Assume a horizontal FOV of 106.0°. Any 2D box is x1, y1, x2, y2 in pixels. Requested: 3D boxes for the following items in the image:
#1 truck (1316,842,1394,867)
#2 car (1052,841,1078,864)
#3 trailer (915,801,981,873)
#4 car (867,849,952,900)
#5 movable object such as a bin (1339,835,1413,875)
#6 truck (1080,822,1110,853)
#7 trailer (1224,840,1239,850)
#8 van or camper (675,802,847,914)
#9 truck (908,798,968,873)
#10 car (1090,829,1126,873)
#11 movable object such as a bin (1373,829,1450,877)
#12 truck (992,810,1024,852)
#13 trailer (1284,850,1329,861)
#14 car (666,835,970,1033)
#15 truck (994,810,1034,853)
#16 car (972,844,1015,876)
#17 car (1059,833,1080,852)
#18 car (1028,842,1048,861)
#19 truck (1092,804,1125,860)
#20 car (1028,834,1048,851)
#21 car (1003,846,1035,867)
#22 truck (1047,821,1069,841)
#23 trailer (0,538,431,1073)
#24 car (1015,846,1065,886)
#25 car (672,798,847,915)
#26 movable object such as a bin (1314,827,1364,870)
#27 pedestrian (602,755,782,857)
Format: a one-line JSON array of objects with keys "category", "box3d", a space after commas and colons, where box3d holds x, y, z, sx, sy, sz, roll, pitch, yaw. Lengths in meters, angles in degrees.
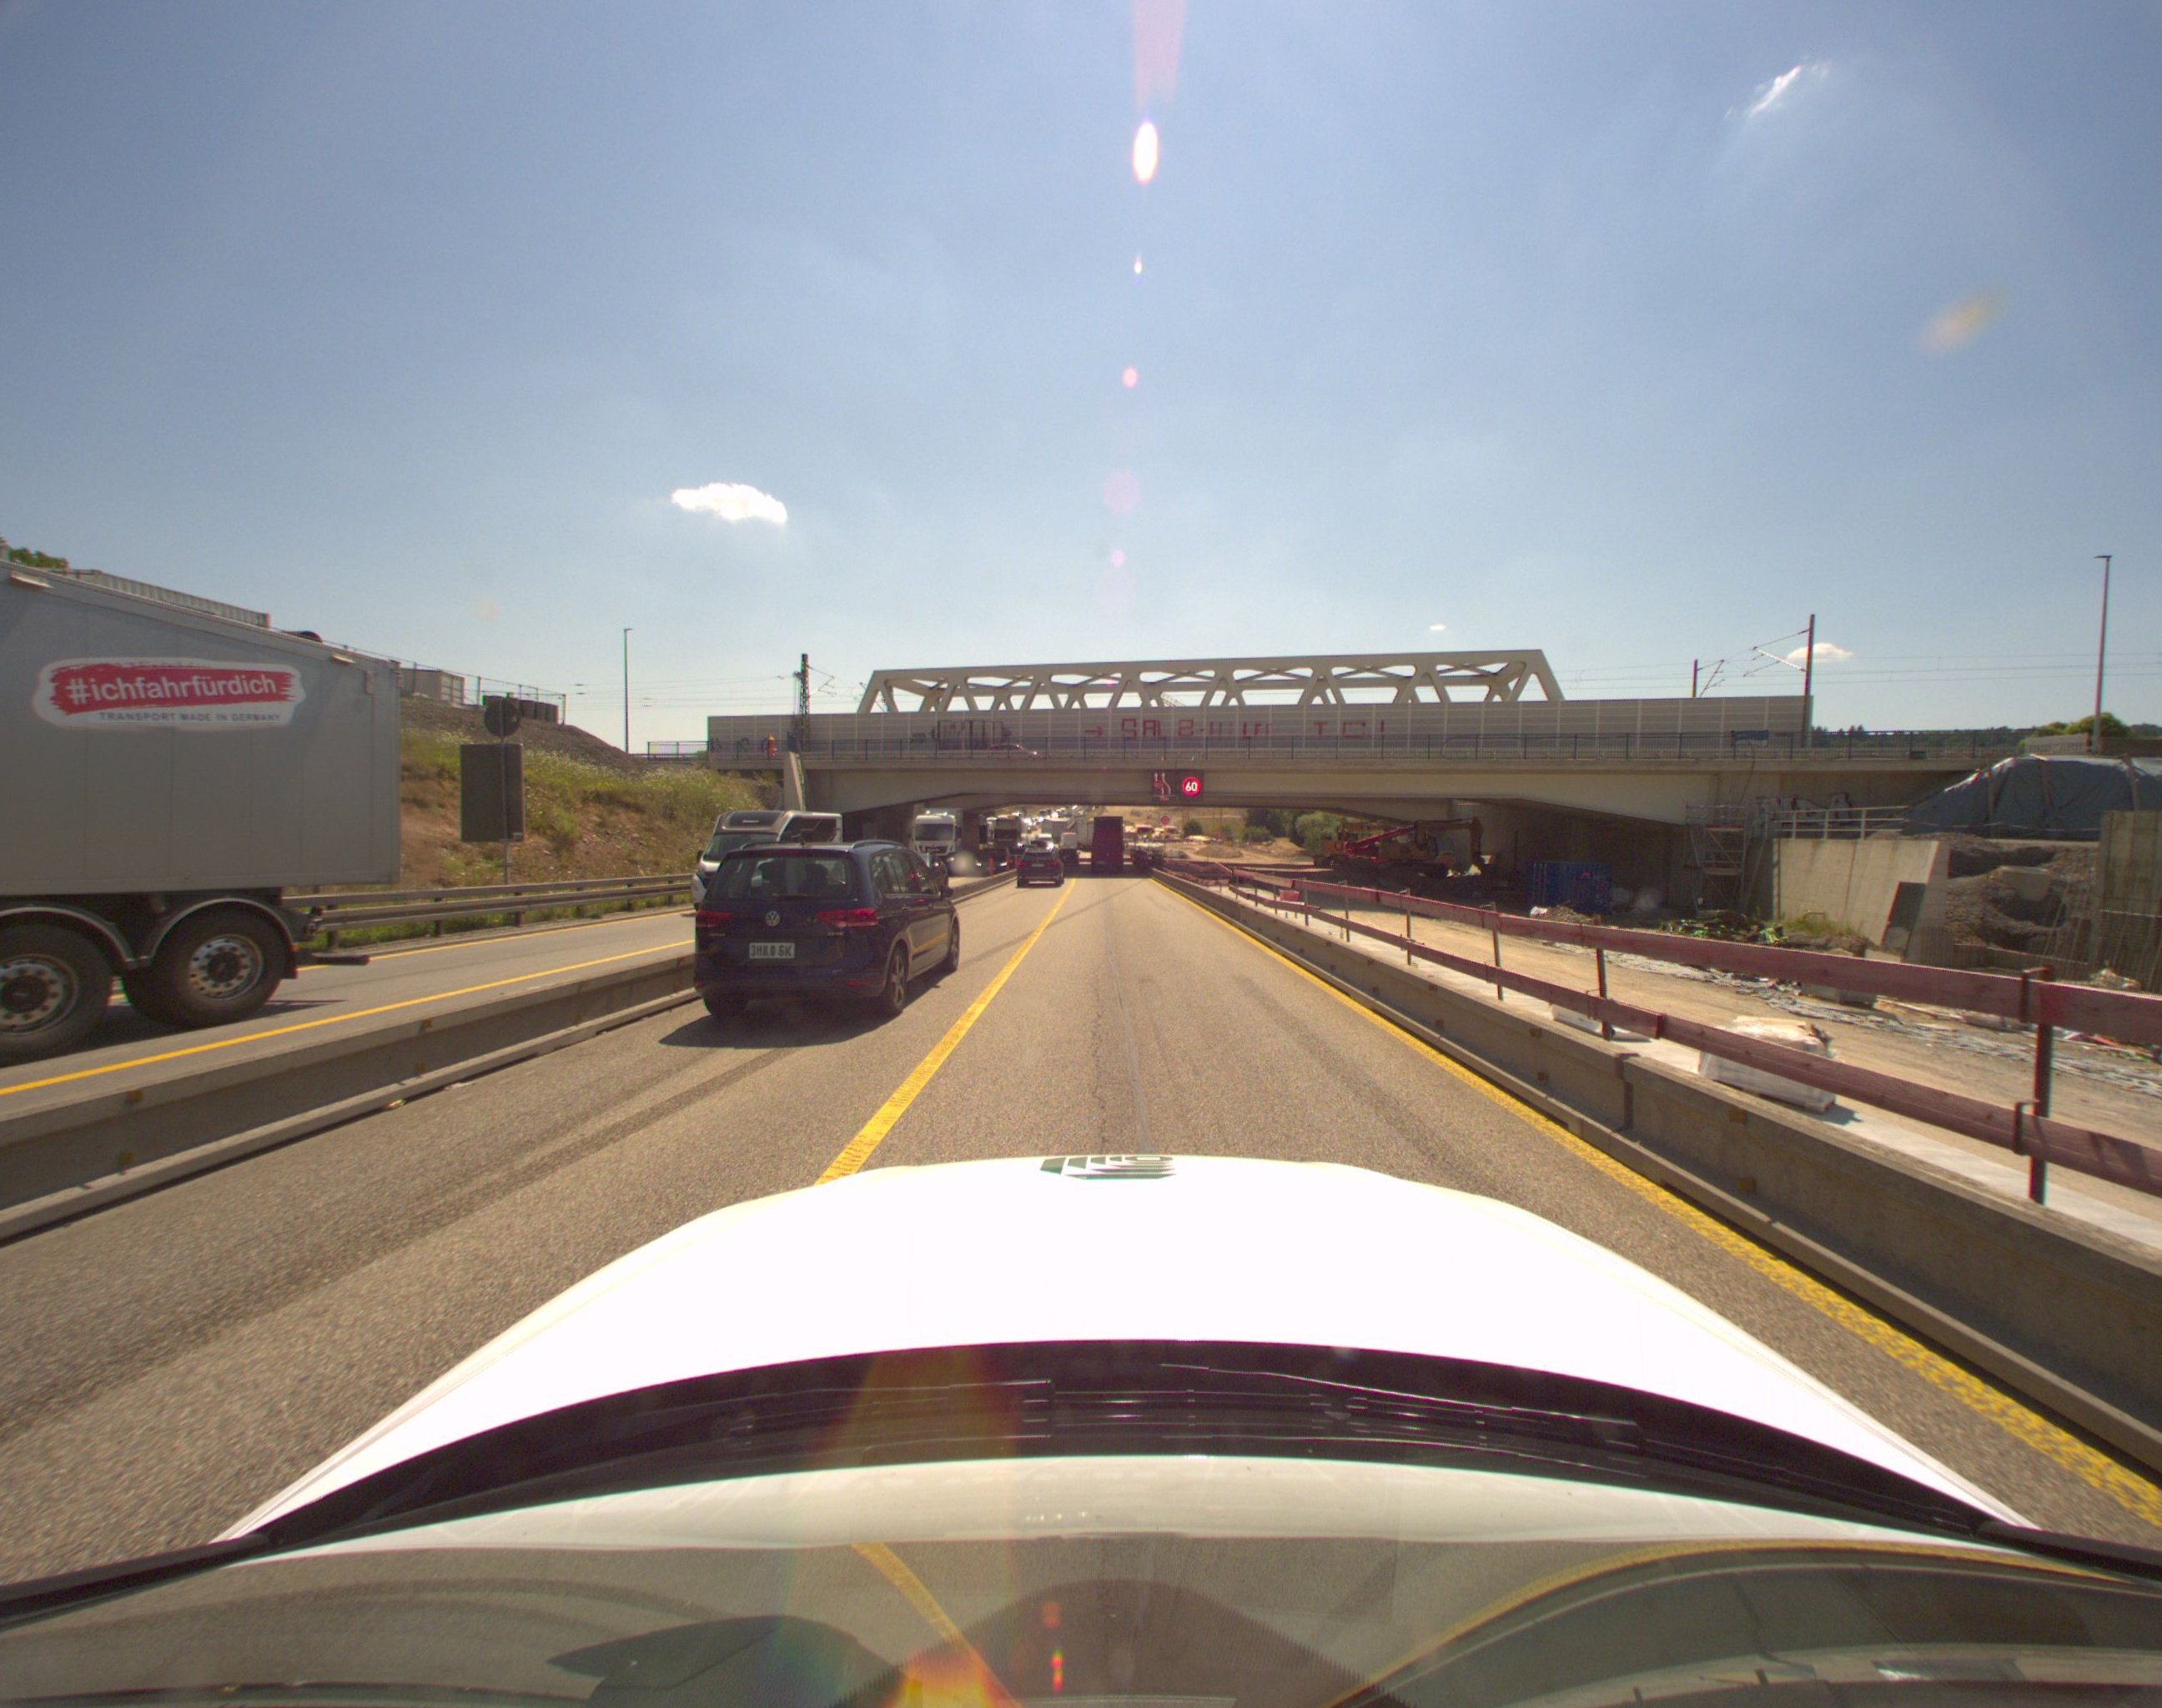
[{"category": "truck", "box3d": [25.510, 0.018, 76.015, 6.491, 2.073, 2.669, 1, 1, 4]}, {"category": "car", "box3d": [-1.267, -0.099, 65.570, 1.827, 1.777, 4.391, 0, 0, 2]}, {"category": "trailer", "box3d": [-8.221, -0.971, 51.368, 2.803, 4.174, 8.242, 0, 0, 0]}, {"category": "car", "box3d": [-5.484, 0.605, 26.570, 1.747, 1.517, 4.189, 0, 1, 2]}, {"category": "movable object such as a bin", "box3d": [24.116, 0.071, 66.674, 5.214, 3.056, 2.500, 1, 0, 5]}, {"category": "truck", "box3d": [1.835, -2.305, 111.586, 3.179, 3.988, 6.726, 0, 3, -7]}, {"category": "trailer", "box3d": [24.227, -1.510, 130.944, 1.619, 1.486, 3.824, 0, 1, -2]}, {"category": "van or camper", "box3d": [-8.700, 0.089, 23.014, 2.115, 2.704, 6.458, 0, 0, 2]}, {"category": "truck", "box3d": [-8.226, -1.008, 47.359, 2.789, 4.150, 4.073, 0, -1, 0]}, {"category": "car", "box3d": [1.702, -0.188, 51.022, 2.142, 2.611, 5.441, 0, 0, 2]}, {"category": "movable object such as a bin", "box3d": [24.040, -0.076, 59.407, 4.531, 3.287, 2.995, 1, 0, 5]}, {"category": "truck", "box3d": [-7.471, -2.288, 83.642, 2.649, 4.171, 5.188, 0, 0, 2]}, {"category": "trailer", "box3d": [26.147, 0.154, 94.663, 4.696, 1.219, 2.056, 0, 0, 1]}, {"category": "car", "box3d": [-2.482, 0.652, 8.943, 1.727, 1.635, 4.393, 0, 0, 3]}, {"category": "truck", "box3d": [-7.275, -2.286, 90.270, 2.758, 4.313, 13.497, 0, 0, 2]}, {"category": "car", "box3d": [-4.964, 0.291, 46.767, 1.849, 1.756, 4.610, 0, 1, 1]}, {"category": "car", "box3d": [-1.632, -1.623, 112.365, 2.264, 2.354, 5.147, 0, 3, -8]}, {"category": "car", "box3d": [-4.406, -0.280, 83.587, 1.794, 1.932, 4.967, 0, 1, 0]}, {"category": "truck", "box3d": [2.574, -2.096, 75.123, 2.933, 4.944, 6.748, 0, 3, 2]}, {"category": "car", "box3d": [-6.098, -1.649, 115.102, 1.981, 2.330, 6.037, 0, 1, -10]}, {"category": "car", "box3d": [-4.480, 0.194, 59.452, 1.849, 1.527, 4.774, 0, 0, 1]}, {"category": "truck", "box3d": [-4.309, -4.108, 149.246, 3.217, 3.360, 8.916, 0, 0, -8]}, {"category": "trailer", "box3d": [-9.194, -0.360, 3.511, 2.644, 3.816, 11.832, 0, 0, 4]}, {"category": "car", "box3d": [-1.698, 0.488, 35.251, 1.827, 1.635, 4.390, 0, 0, 1]}, {"category": "car", "box3d": [-8.733, 0.071, 22.997, 2.267, 2.821, 6.558, 0, 0, 0]}, {"category": "movable object such as a bin", "box3d": [22.387, -0.464, 70.792, 3.855, 3.542, 2.913, 1, 0, 12]}, {"category": "pedestrian", "box3d": [-8.450, -0.941, 18.154, 1.986, 2.014, 4.002, 0, 0, 2]}]
